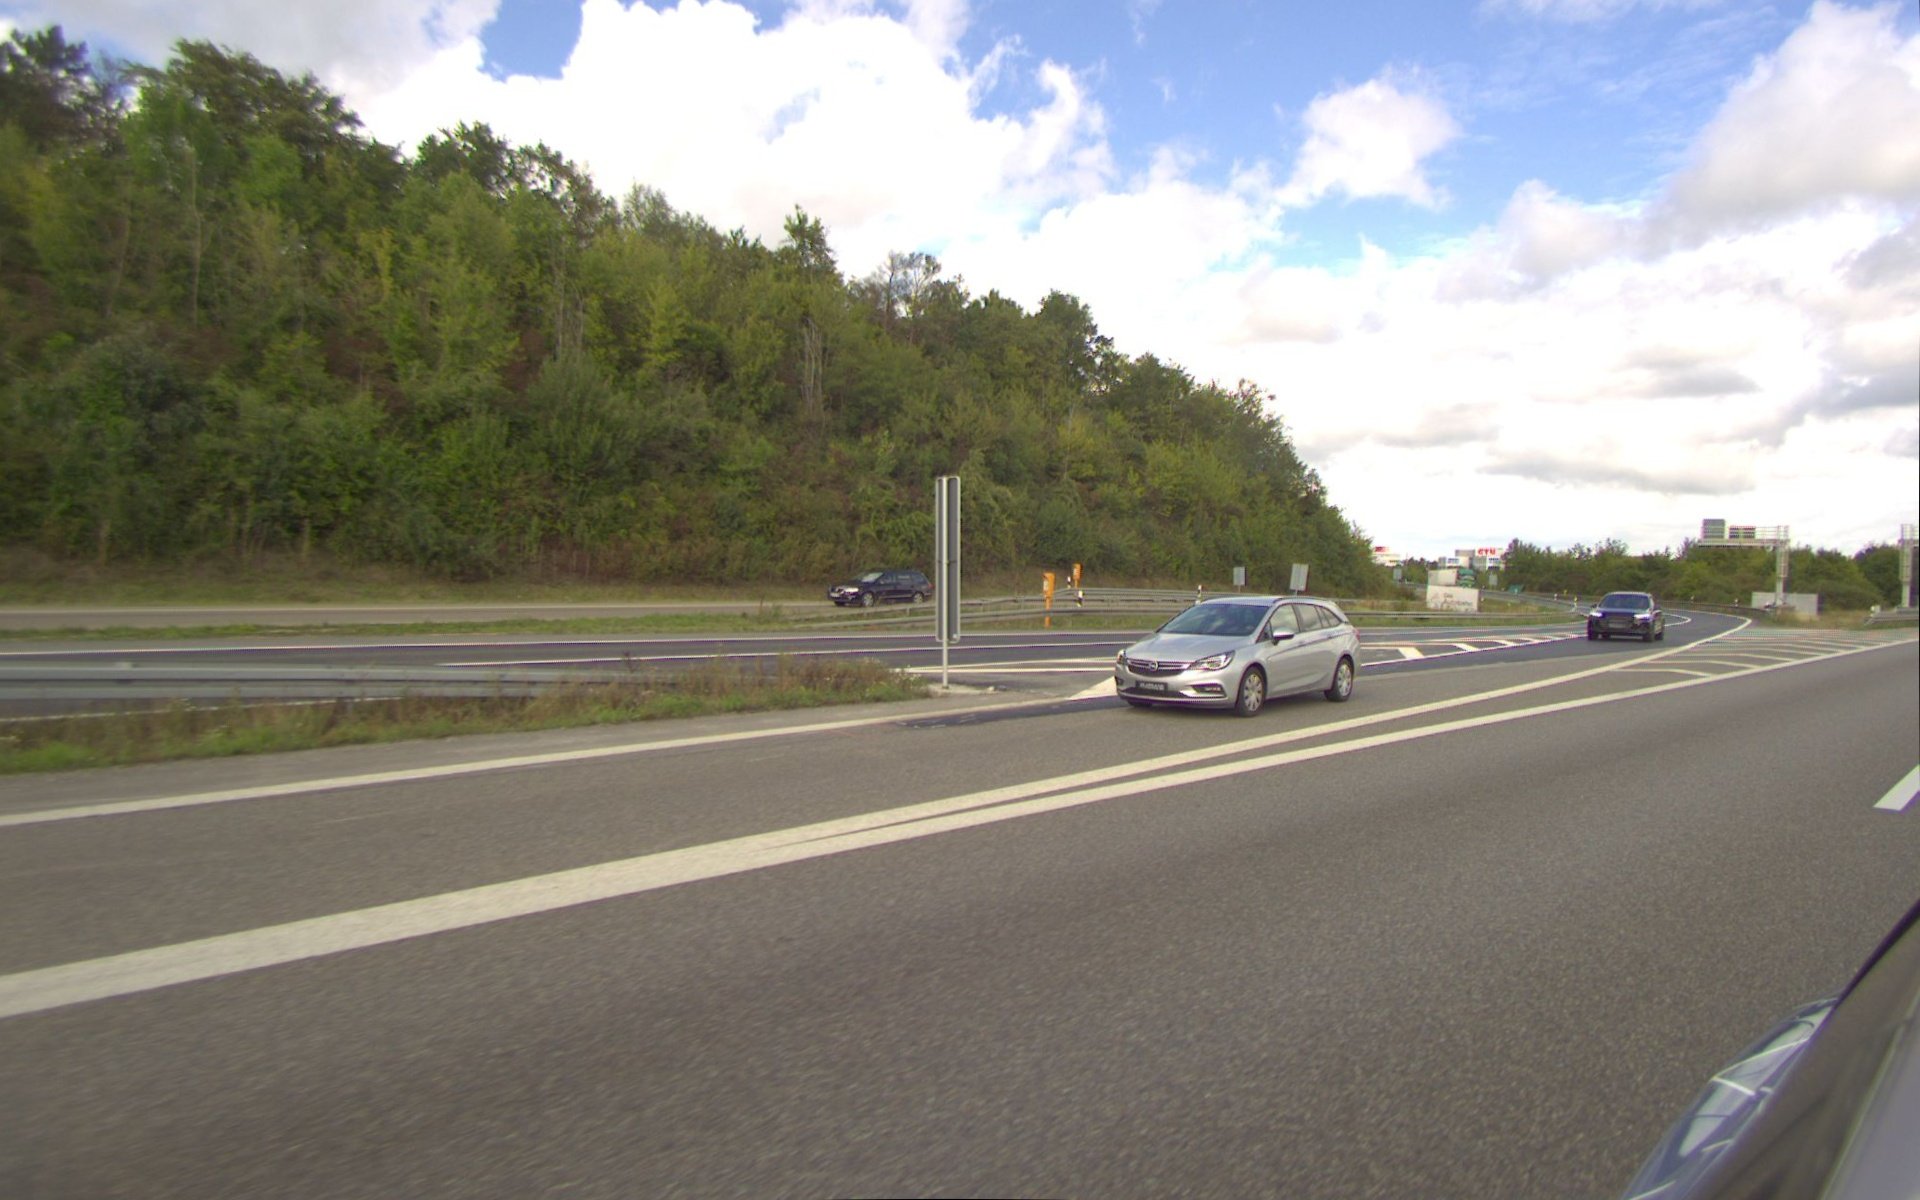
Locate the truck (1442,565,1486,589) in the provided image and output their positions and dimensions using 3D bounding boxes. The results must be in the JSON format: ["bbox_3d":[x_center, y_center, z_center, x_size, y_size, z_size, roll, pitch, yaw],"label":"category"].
[{"bbox_3d":[85.018,-3.797,171.085,2.922,3.845,13.423,1,0,10],"label":"truck"}]

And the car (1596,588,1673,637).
[{"bbox_3d":[24.382,0.407,36.516,1.868,1.656,4.790,1,1,39],"label":"car"}]

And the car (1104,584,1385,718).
[{"bbox_3d":[3.962,0.558,13.583,1.684,1.504,4.542,1,1,44],"label":"car"}]

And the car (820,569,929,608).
[{"bbox_3d":[-3.259,-0.438,39.252,1.712,1.433,4.102,2,1,44],"label":"car"}]
